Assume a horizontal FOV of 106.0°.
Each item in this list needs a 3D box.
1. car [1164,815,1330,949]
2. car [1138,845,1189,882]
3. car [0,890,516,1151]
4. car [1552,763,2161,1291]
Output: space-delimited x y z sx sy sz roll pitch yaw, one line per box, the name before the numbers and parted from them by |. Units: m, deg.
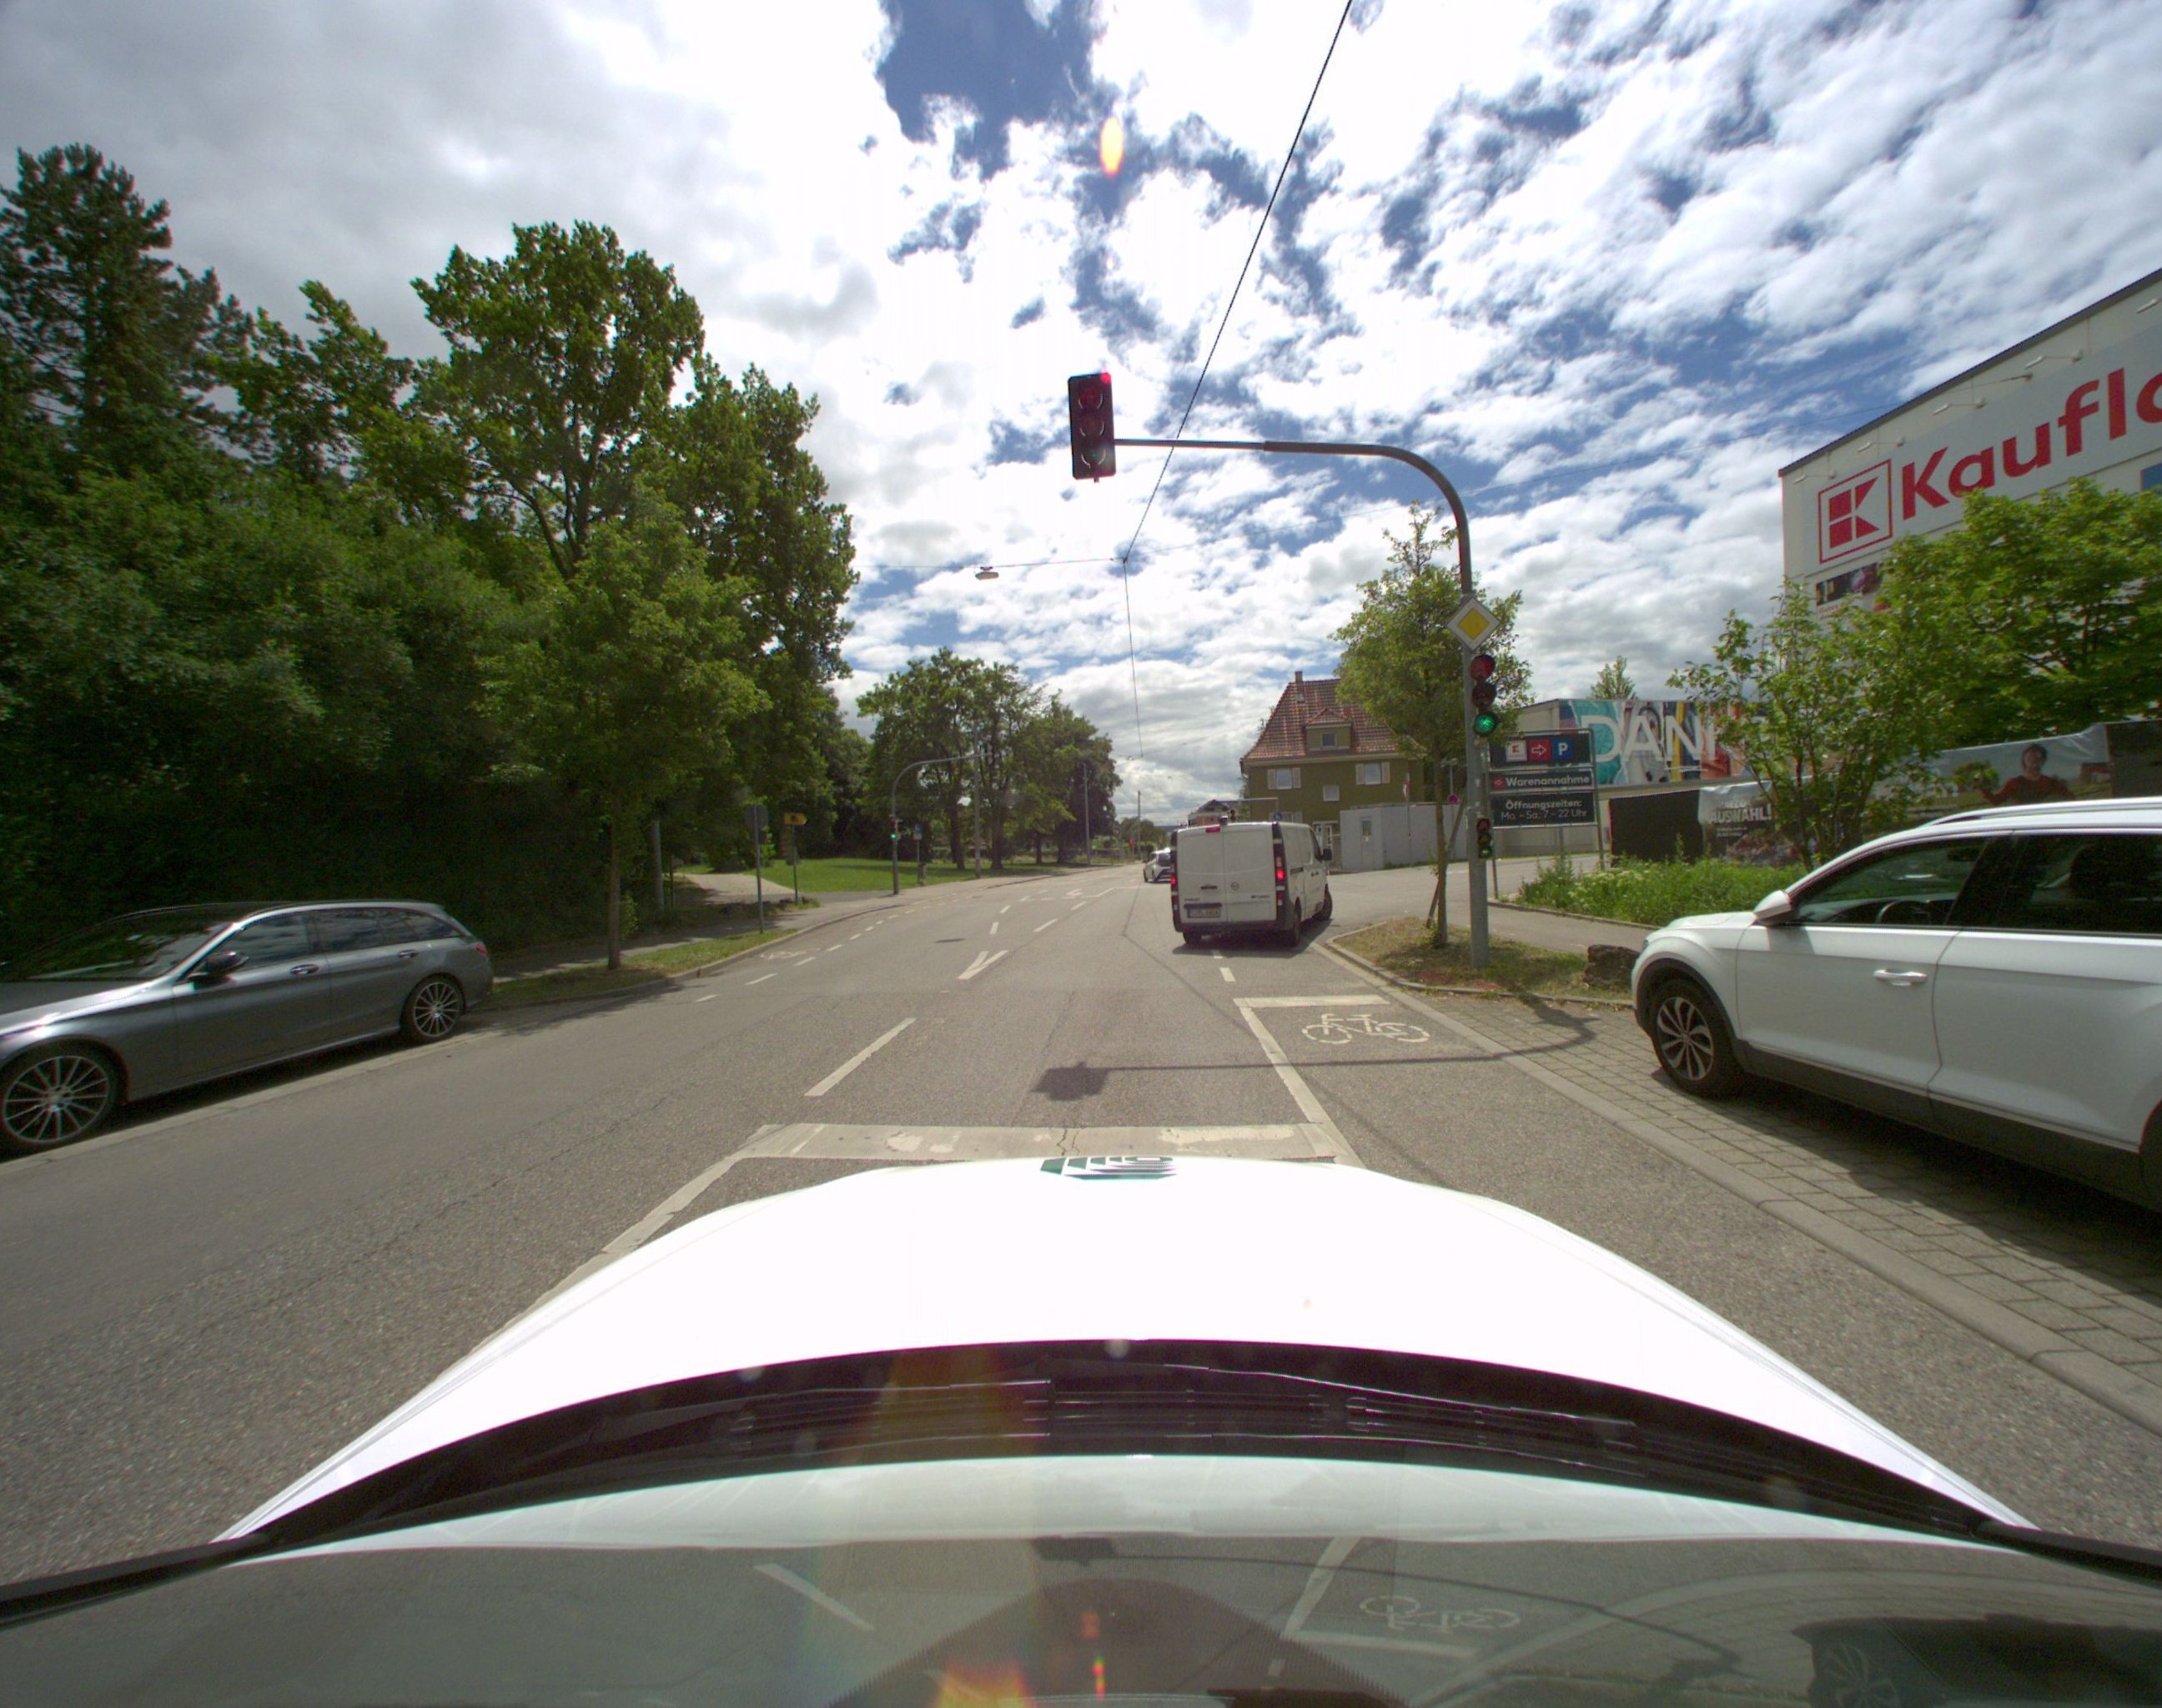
car | 3.156 0.366 14.527 1.921 1.960 4.860 -1 1 23
car | 3.791 0.432 37.903 1.601 1.606 3.992 -1 0 -6
car | -7.206 1.095 6.708 1.688 1.365 4.688 -1 0 2
car | 4.174 0.467 3.549 1.730 1.616 4.389 -5 0 2
